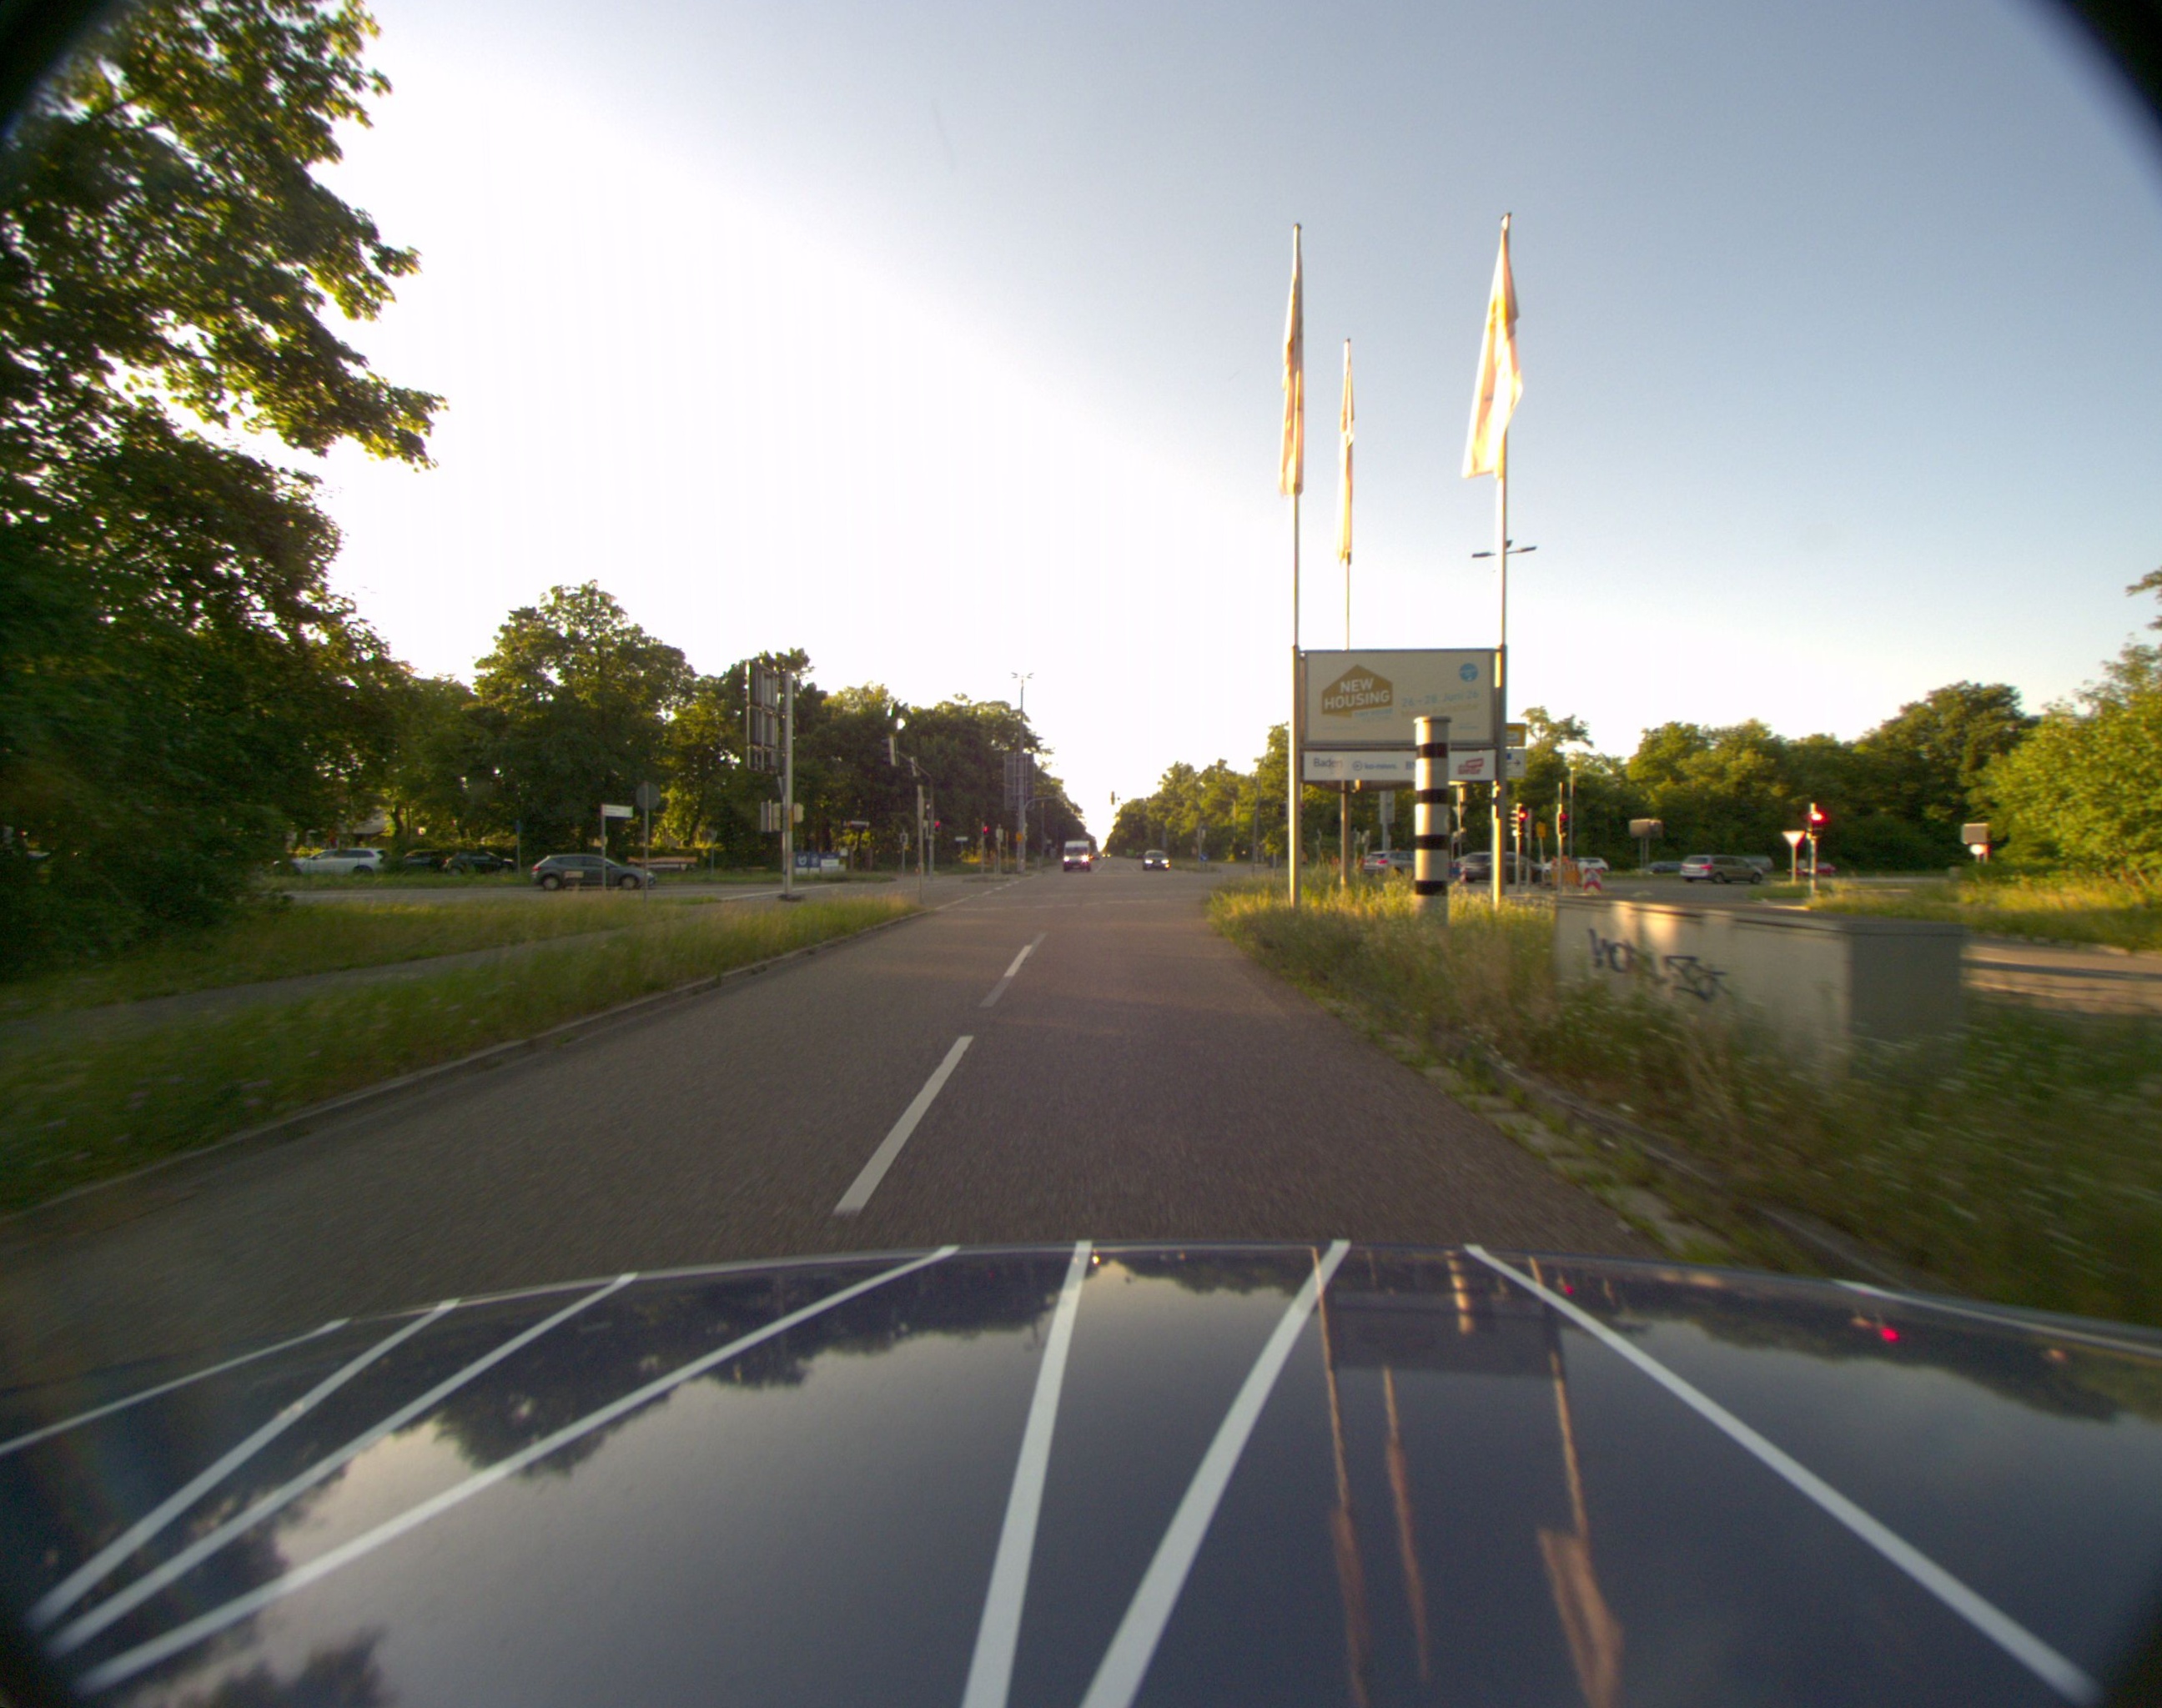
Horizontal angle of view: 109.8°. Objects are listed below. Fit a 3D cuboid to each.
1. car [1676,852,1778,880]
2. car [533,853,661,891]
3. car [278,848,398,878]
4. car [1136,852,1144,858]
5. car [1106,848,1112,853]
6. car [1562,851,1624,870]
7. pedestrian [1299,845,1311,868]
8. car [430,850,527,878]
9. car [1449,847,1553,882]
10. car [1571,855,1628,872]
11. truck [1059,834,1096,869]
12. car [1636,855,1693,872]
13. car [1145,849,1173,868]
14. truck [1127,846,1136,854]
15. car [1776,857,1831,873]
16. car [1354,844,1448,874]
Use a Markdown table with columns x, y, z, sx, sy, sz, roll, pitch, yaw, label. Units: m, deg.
| x | y | z | sx | sy | sz | roll | pitch | yaw | label |
| --- | --- | --- | --- | --- | --- | --- | --- | --- | --- |
| 39.373 | 0.718 | 46.377 | 4.656 | 1.714 | 1.872 | 0 | 0 | -1 | car |
| -19.505 | 0.697 | 30.845 | 4.080 | 1.397 | 1.868 | 0 | 2 | -22 | car |
| -42.693 | 0.498 | 43.778 | 4.554 | 1.649 | 1.861 | 0 | 1 | -26 | car |
| 13.910 | 0.144 | 179.958 | 1.663 | 1.320 | 4.045 | 0 | 2 | 0 | car |
| 8.582 | -1.067 | 234.286 | 1.846 | 1.587 | 4.207 | 0 | 2 | 1 | car |
| 40.792 | 0.523 | 60.521 | 4.235 | 1.447 | 1.719 | 0 | 1 | -15 | car |
| 17.719 | 0.211 | 60.153 | 0.751 | 1.790 | 0.574 | -1 | 1 | -33 | pedestrian |
| -36.785 | 0.569 | 46.571 | 4.556 | 1.648 | 1.860 | 0 | 0 | -36 | car |
| 22.066 | 0.551 | 39.955 | 4.826 | 1.652 | 2.008 | 1 | 2 | -19 | car |
| 44.796 | 0.786 | 65.632 | 4.235 | 1.447 | 1.719 | 0 | 1 | -15 | car |
| -0.215 | -0.137 | 60.898 | 2.603 | 2.542 | 6.024 | -2 | 0 | 2 | truck |
| 51.526 | 0.796 | 67.115 | 4.403 | 1.447 | 1.719 | 0 | 1 | -15 | car |
| 6.357 | 0.353 | 62.416 | 2.001 | 1.511 | 4.000 | 0 | 1 | 1 | car |
| 13.503 | -1.018 | 202.666 | 1.999 | 2.109 | 3.999 | 0 | 1 | 0 | truck |
| 68.644 | 1.051 | 72.198 | 4.236 | 1.413 | 1.881 | 0 | 1 | -16 | car |
| 17.456 | 0.254 | 41.518 | 4.399 | 1.615 | 1.997 | 0 | 1 | -14 | car |
